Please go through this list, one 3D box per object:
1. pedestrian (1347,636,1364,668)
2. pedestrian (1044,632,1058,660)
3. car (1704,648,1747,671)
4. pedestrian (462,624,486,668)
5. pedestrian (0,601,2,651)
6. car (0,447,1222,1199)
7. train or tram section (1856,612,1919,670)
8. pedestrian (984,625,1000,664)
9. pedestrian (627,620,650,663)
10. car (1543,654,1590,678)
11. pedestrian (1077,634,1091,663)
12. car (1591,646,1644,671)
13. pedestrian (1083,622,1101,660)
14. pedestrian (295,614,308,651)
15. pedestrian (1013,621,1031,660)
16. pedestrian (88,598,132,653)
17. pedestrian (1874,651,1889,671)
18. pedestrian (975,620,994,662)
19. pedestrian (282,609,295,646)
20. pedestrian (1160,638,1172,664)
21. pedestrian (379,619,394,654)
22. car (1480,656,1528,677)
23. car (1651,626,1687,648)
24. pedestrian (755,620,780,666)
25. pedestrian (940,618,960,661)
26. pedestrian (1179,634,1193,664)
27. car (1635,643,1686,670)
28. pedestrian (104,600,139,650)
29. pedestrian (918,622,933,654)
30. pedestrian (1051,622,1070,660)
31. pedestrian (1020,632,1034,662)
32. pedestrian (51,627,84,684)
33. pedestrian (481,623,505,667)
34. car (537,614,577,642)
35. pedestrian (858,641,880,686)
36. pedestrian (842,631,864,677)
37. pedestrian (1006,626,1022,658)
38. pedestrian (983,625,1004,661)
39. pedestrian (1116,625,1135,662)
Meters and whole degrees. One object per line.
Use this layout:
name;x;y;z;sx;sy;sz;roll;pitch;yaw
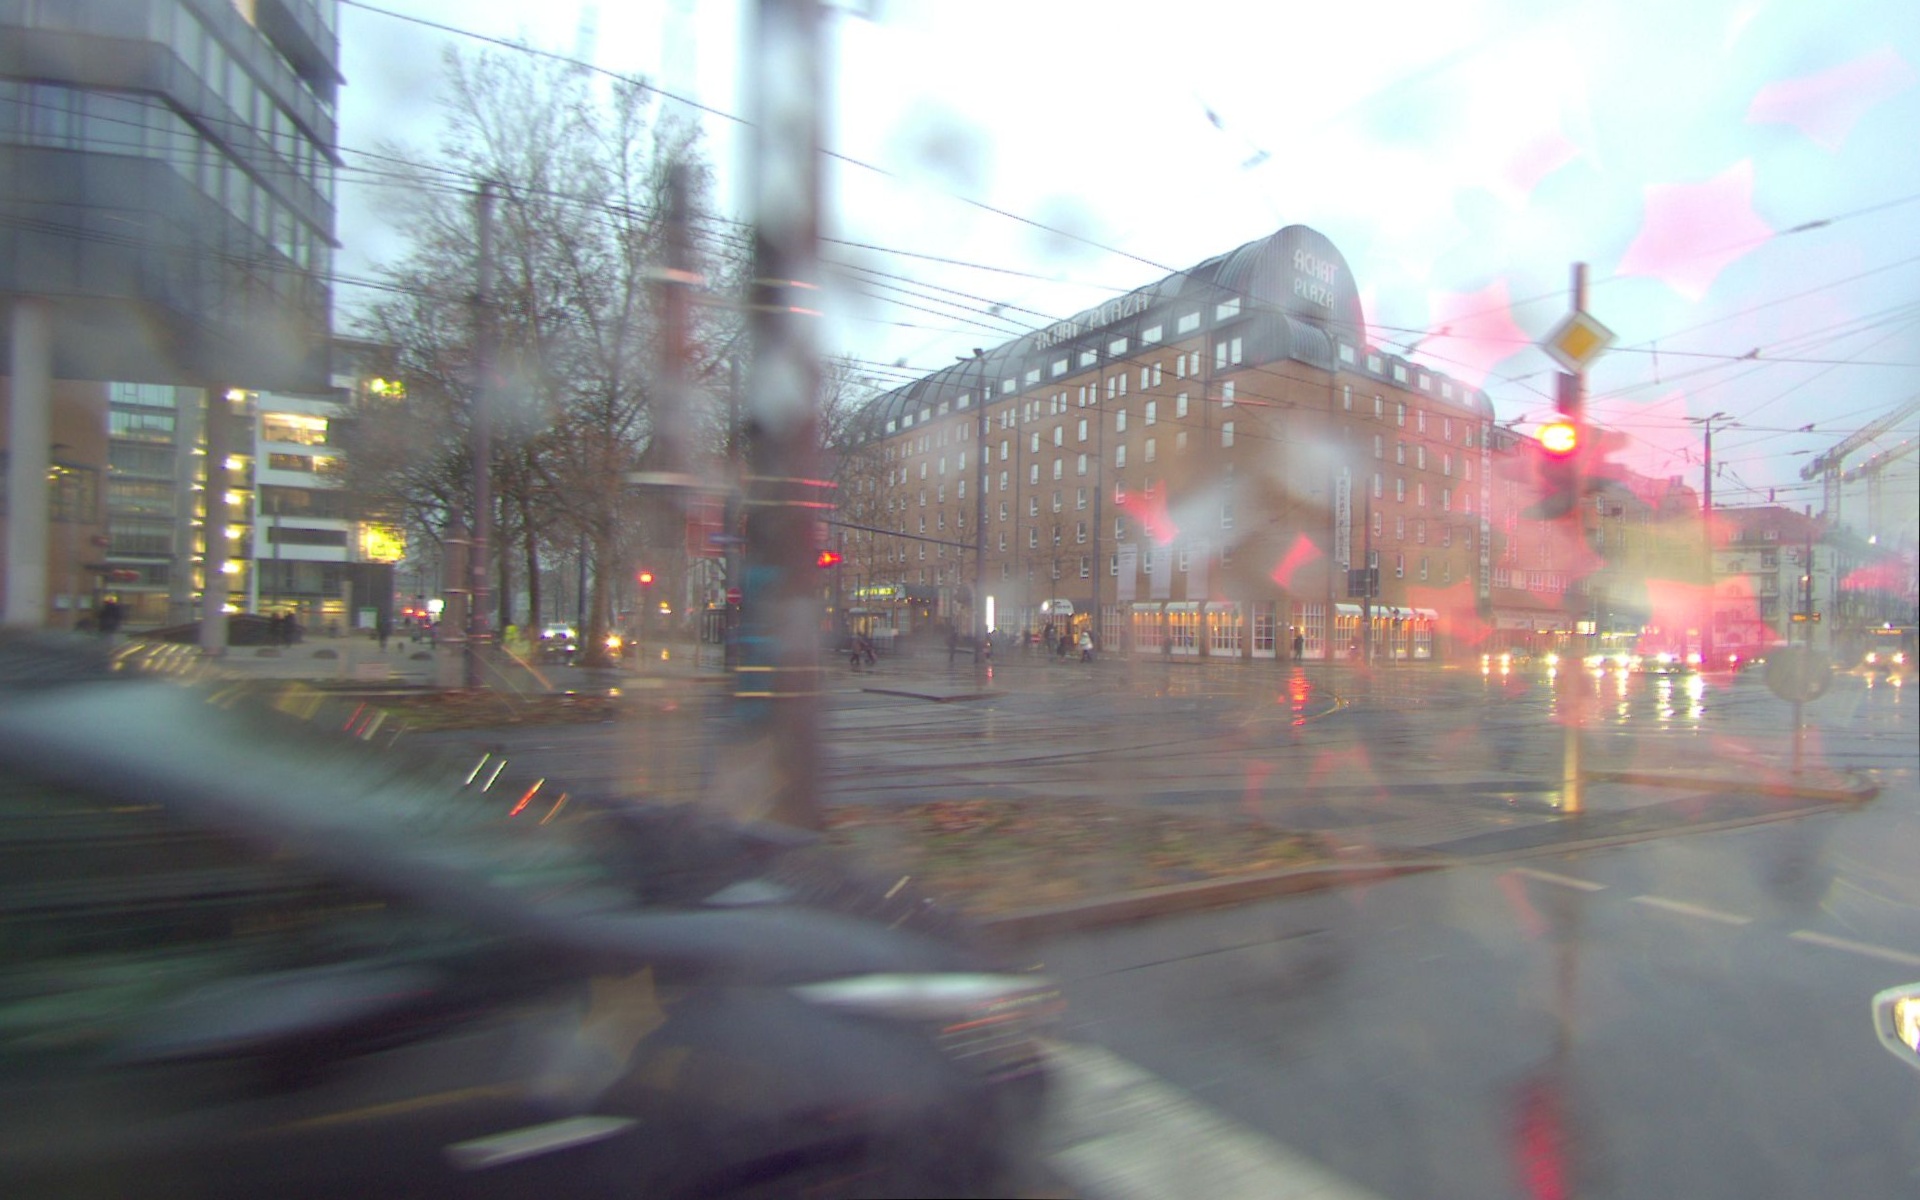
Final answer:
pedestrian;25.649;3.338;65.142;0.919;2.040;0.758;0;-2;27
pedestrian;5.047;2.541;55.759;0.566;1.558;0.517;1;-1;-21
car;51.534;3.995;67.600;3.519;1.372;1.667;3;-1;-41
pedestrian;-19.077;1.792;39.410;0.551;1.706;0.597;0;-1;27
pedestrian;-33.719;0.884;34.510;0.680;1.731;0.927;1;-2;3
car;-1.521;0.644;1.754;3.715;1.593;1.673;2;-2;-29
train or tram section;65.675;2.865;70.093;12.155;3.636;2.925;2;0;-40
pedestrian;1.657;2.298;51.951;0.657;1.984;0.527;1;-1;-17
pedestrian;-15.681;2.022;49.004;0.696;2.040;0.756;0;-2;36
car;40.327;4.367;66.757;3.565;1.515;1.569;2;-2;-39
pedestrian;6.620;2.596;53.614;0.566;1.558;0.517;1;-1;-21
car;42.005;3.714;64.156;4.166;1.515;1.655;2;-2;-39
pedestrian;7.221;2.248;55.015;0.746;2.040;0.706;2;-2;-14
pedestrian;-32.209;1.601;49.125;0.441;1.774;0.649;2;-1;-29
pedestrian;3.258;2.158;53.214;0.746;2.040;0.706;2;-2;-14
pedestrian;-29.333;0.875;34.663;0.909;1.870;0.771;1;-2;-21
pedestrian;53.620;3.545;58.437;0.486;1.168;0.575;2;0;-38
pedestrian;1.226;2.047;50.044;0.746;2.040;0.798;1;-2;-14
pedestrian;-32.620;1.340;48.791;0.441;1.774;0.649;2;-1;-29
pedestrian;12.637;3.110;61.644;0.566;1.558;0.517;1;-1;-21
pedestrian;-28.089;1.770;49.227;0.556;1.706;0.592;2;-1;-34
car;38.556;4.700;71.185;4.194;1.339;1.598;2;-2;-40
car;71.103;3.711;100.742;3.968;2.040;1.976;2;0;-40
pedestrian;-8.549;1.911;44.655;0.696;2.040;0.756;0;-2;36
pedestrian;-0.474;1.884;47.780;0.746;2.040;0.706;2;-2;-14
pedestrian;12.183;2.633;54.117;0.566;1.558;0.517;1;-1;-21
car;48.507;3.891;69.503;4.668;1.732;1.813;3;-2;-41
pedestrian;-29.680;0.889;35.561;0.683;1.731;0.724;1;-2;-21
pedestrian;-2.288;2.504;66.344;0.712;2.040;0.740;2;-2;-33
pedestrian;5.461;2.223;54.494;0.701;2.040;0.752;2;-2;-36
pedestrian;3.502;2.468;52.569;0.566;1.558;0.517;1;-1;-21
pedestrian;-20.857;1.293;23.480;0.491;1.281;0.442;2;0;-34
pedestrian;-18.342;1.762;39.443;0.551;1.706;0.597;0;-1;27
car;-32.444;2.267;80.768;1.903;2.165;4.033;2;-2;-38
pedestrian;-4.180;2.914;45.964;0.750;2.040;0.702;2;-2;-28
pedestrian;-4.859;2.442;45.678;0.750;2.040;0.702;2;-2;-28
pedestrian;3.484;2.674;64.723;0.712;2.040;0.740;2;-2;-33
pedestrian;1.803;2.311;54.496;0.777;1.925;0.832;2;-2;-32
pedestrian;9.328;2.453;56.712;0.750;2.040;0.702;2;-2;-29
